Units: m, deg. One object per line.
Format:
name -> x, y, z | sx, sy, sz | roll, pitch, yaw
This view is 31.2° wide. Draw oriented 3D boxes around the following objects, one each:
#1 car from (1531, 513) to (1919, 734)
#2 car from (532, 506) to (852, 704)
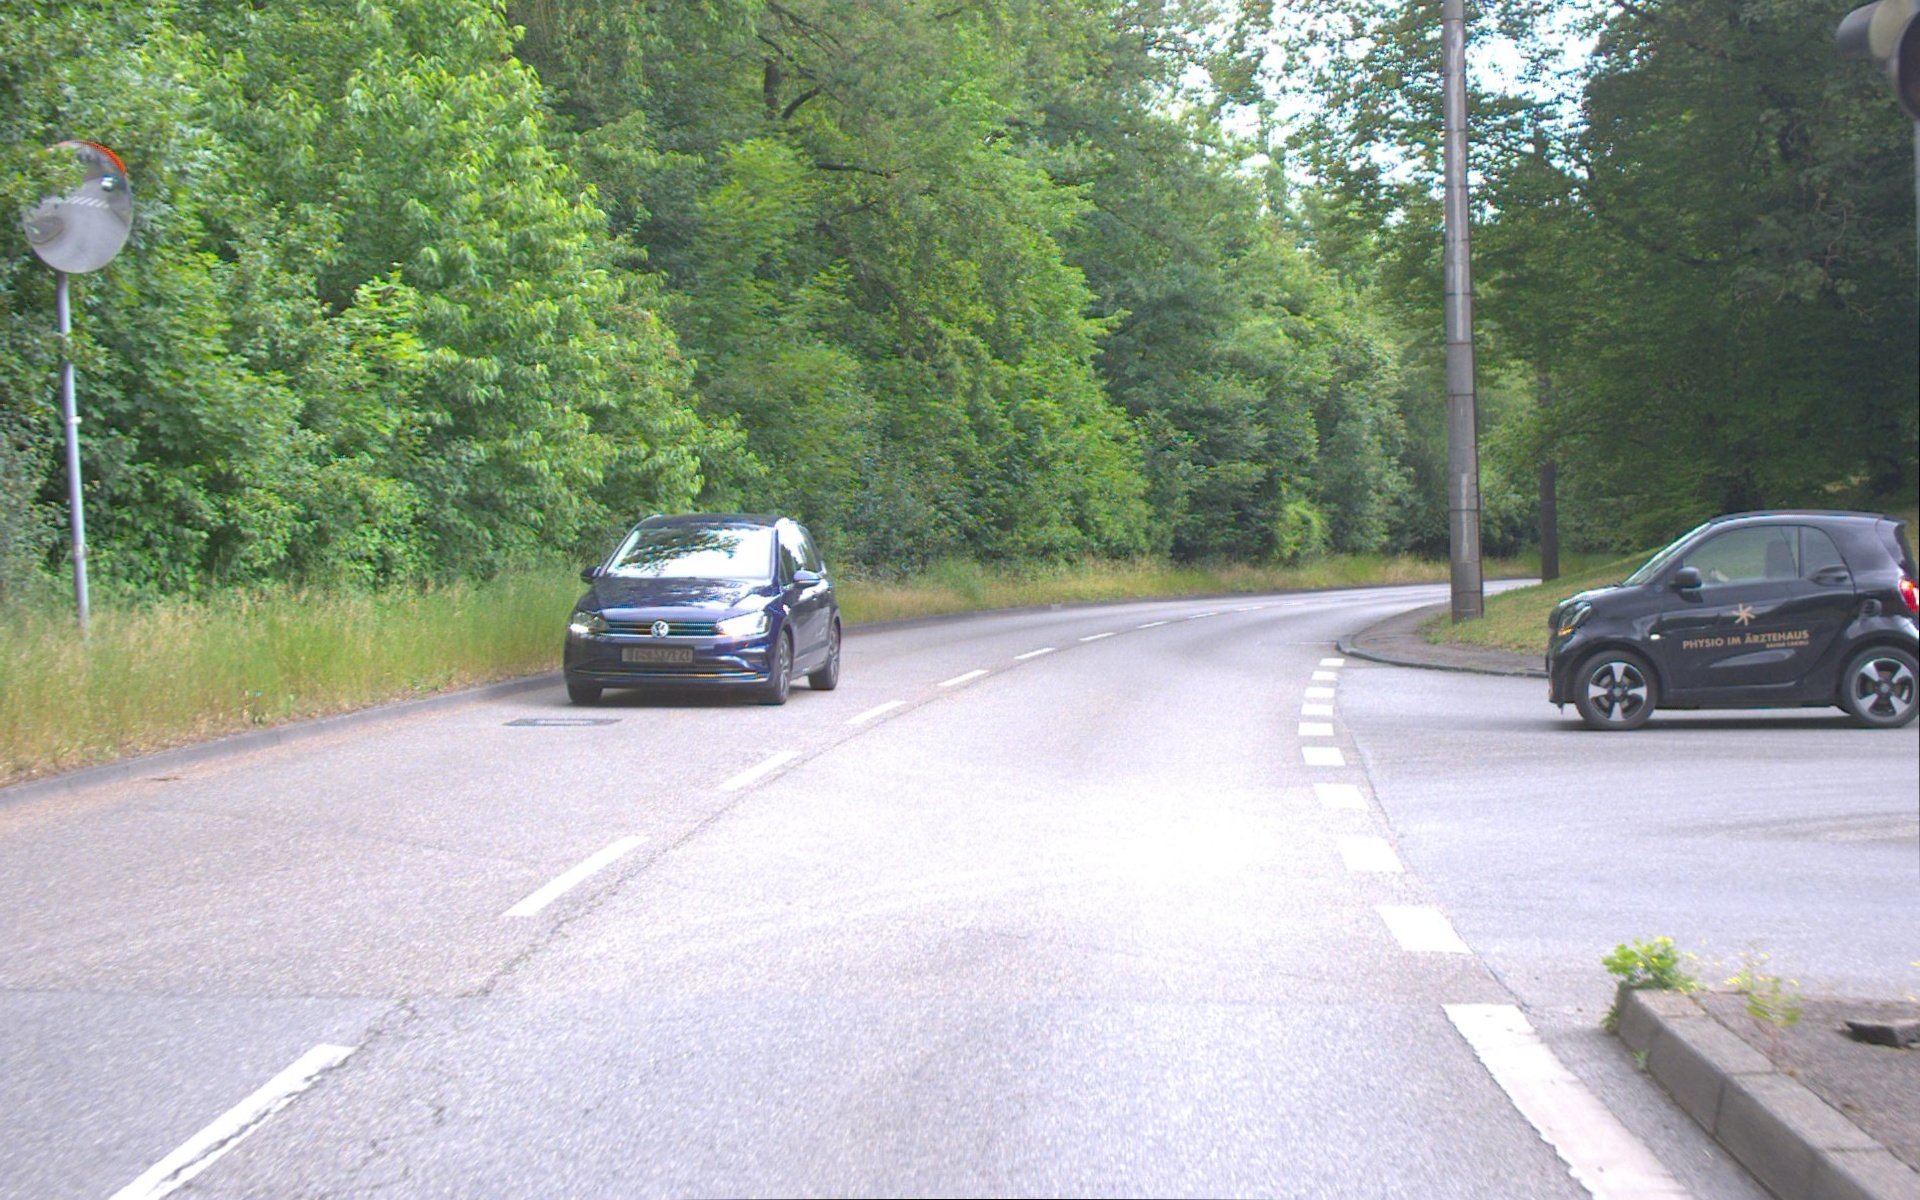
car -> 5.815, 0.147, 24.789 | 3.305, 1.489, 1.667 | -1, 1, 9
car -> -2.176, -0.007, 29.280 | 1.789, 1.509, 4.841 | 1, 1, 7
